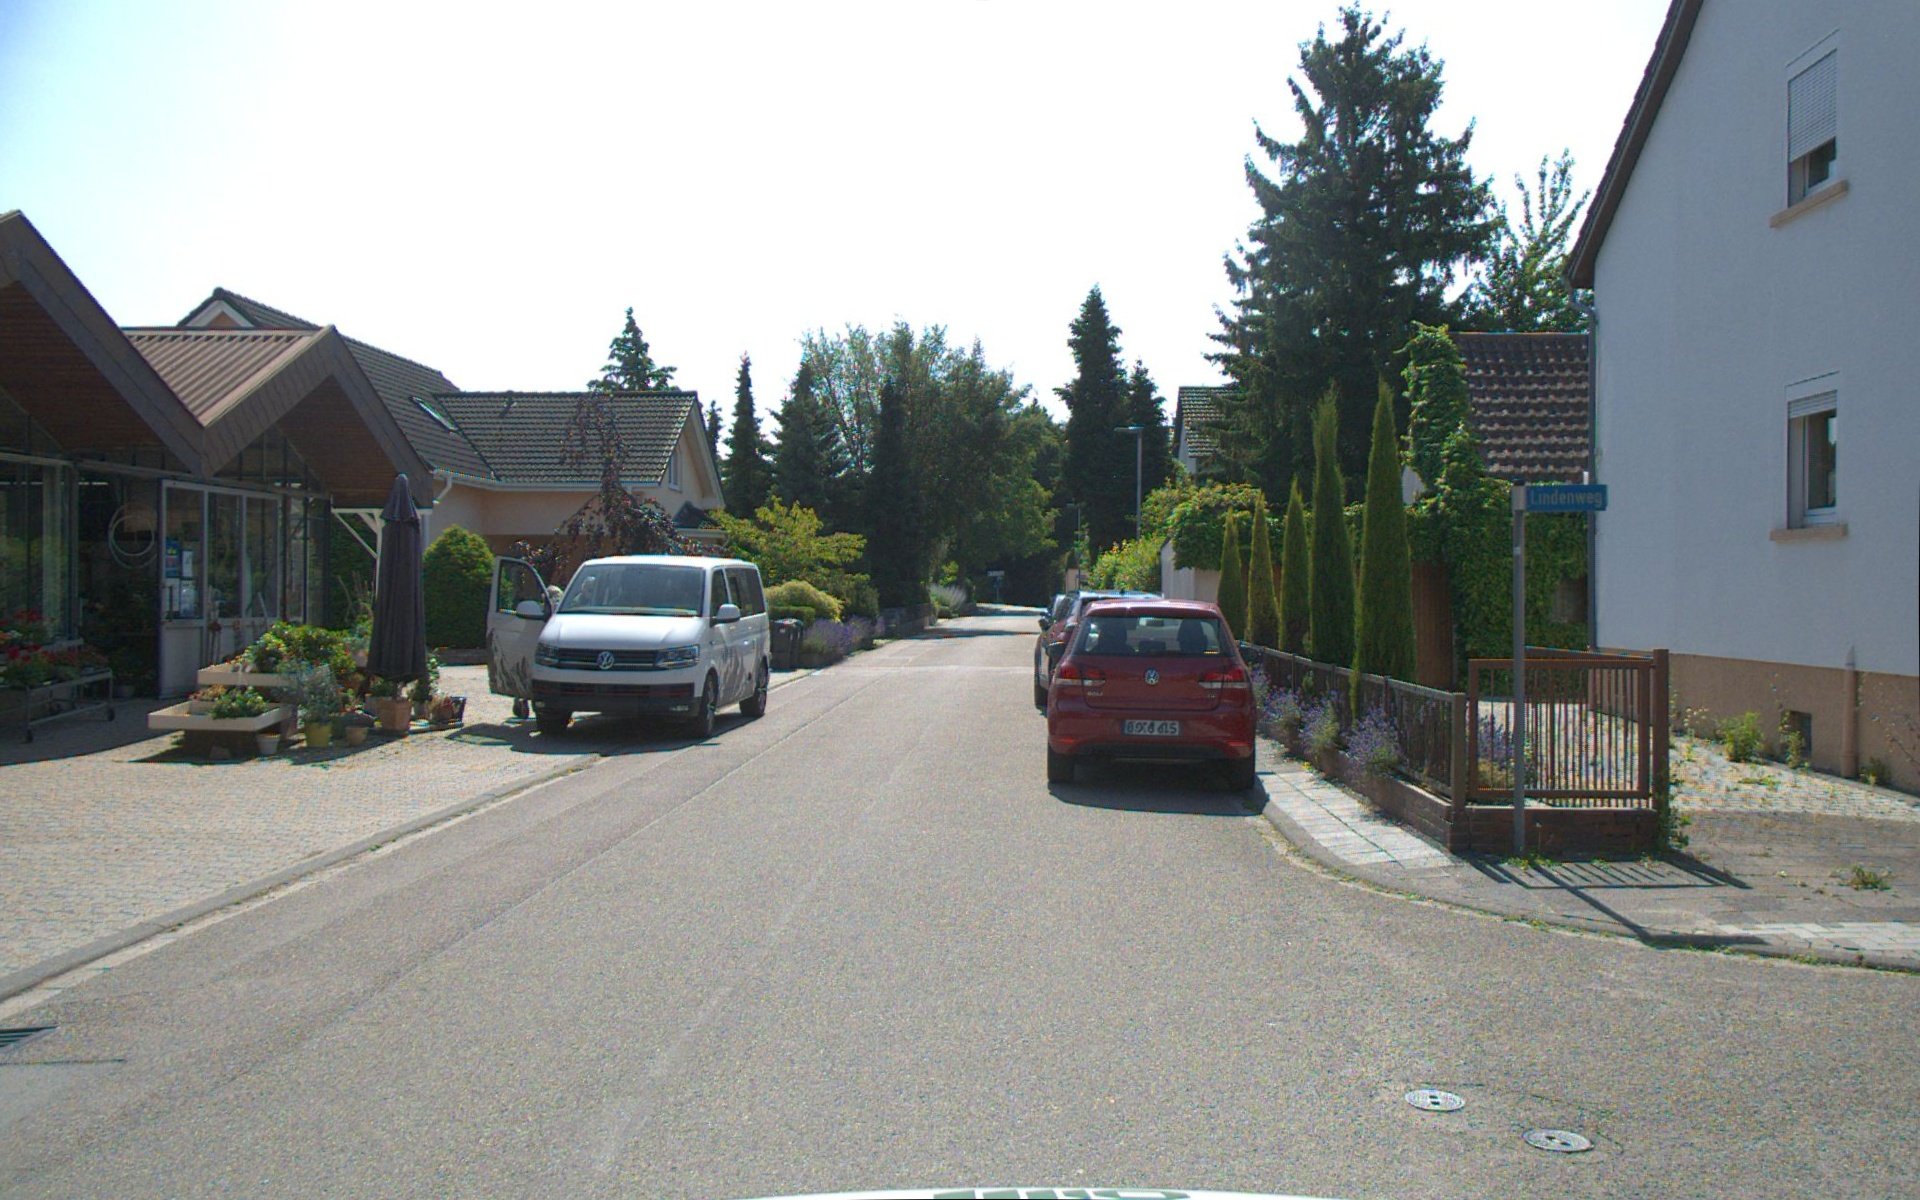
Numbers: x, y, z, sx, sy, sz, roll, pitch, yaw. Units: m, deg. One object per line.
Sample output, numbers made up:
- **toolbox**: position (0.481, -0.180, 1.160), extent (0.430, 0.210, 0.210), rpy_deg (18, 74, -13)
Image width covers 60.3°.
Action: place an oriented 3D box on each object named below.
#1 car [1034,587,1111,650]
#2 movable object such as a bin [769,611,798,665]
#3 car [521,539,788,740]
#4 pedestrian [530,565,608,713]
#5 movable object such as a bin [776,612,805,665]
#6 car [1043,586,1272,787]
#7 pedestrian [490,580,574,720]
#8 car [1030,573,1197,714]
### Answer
- **car**: position (2.671, 0.414, 39.895), extent (1.667, 1.424, 4.001), rpy_deg (1, 0, 1)
- **movable object such as a bin**: position (-3.469, 0.743, 32.481), extent (0.484, 1.042, 0.447), rpy_deg (-1, 0, 2)
- **car**: position (-3.382, 0.387, 19.338), extent (1.888, 2.049, 4.898), rpy_deg (0, 0, 4)
- **pedestrian**: position (-4.739, 0.456, 20.050), extent (0.677, 1.761, 0.640), rpy_deg (1, 1, 33)
- **movable object such as a bin**: position (-3.374, 0.757, 32.942), extent (0.484, 1.042, 0.447), rpy_deg (-1, 0, 2)
- **car**: position (1.728, 0.660, 14.835), extent (1.738, 1.505, 4.003), rpy_deg (1, 0, 6)
- **pedestrian**: position (-4.946, 0.559, 19.127), extent (0.705, 1.565, 0.639), rpy_deg (1, 1, 36)
- **car**: position (1.900, 0.505, 21.561), extent (1.785, 1.643, 4.000), rpy_deg (1, 0, 0)
